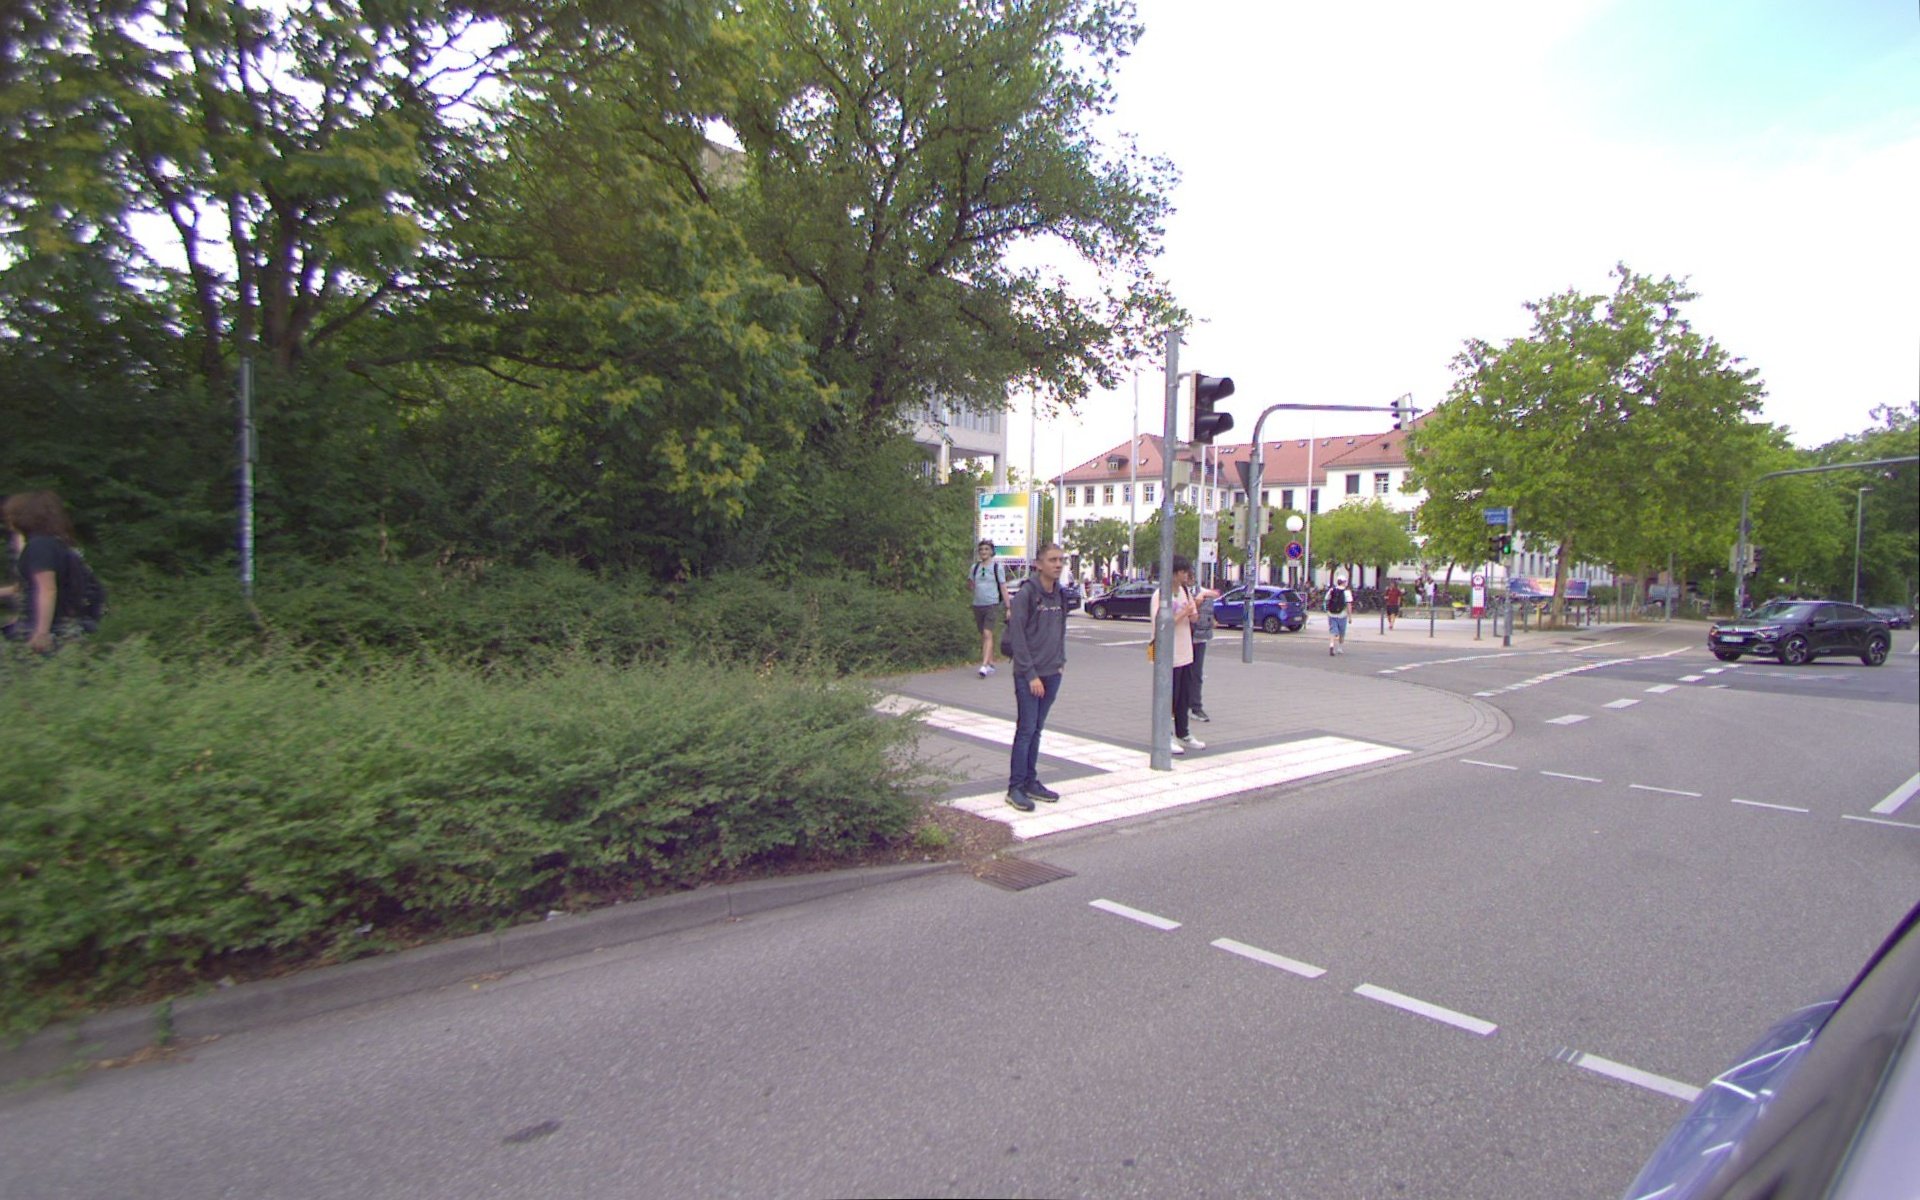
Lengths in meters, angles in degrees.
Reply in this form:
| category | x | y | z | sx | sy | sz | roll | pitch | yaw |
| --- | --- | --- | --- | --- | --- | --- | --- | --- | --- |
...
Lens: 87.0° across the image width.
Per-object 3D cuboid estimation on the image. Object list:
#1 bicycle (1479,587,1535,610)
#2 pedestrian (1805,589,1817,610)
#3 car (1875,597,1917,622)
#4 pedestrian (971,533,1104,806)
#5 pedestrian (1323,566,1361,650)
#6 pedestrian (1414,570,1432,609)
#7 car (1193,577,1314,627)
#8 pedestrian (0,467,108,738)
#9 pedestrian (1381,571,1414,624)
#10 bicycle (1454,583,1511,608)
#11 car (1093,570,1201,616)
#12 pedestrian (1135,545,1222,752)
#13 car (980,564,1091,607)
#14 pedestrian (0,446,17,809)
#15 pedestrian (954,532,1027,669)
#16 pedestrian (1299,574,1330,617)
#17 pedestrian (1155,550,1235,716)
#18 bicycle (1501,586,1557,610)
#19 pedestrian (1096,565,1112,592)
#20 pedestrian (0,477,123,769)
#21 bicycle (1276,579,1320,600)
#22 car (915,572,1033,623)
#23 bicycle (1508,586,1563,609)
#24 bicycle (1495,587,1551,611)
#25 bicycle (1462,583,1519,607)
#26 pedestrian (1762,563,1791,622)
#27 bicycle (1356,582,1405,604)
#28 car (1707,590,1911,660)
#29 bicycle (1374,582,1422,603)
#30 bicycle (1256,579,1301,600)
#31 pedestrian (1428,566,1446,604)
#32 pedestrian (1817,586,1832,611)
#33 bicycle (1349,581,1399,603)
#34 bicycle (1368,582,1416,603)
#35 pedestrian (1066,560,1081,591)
| category | x | y | z | sx | sy | sz | roll | pitch | yaw |
| --- | --- | --- | --- | --- | --- | --- | --- | --- | --- |
| bicycle | 28.665 | -0.089 | 53.083 | 0.706 | 1.156 | 2.468 | 0 | 2 | -43 |
| pedestrian | 66.969 | -0.053 | 79.628 | 0.644 | 1.584 | 0.792 | 2 | 2 | 43 |
| car | 54.960 | 0.527 | 59.380 | 1.699 | 1.386 | 3.771 | 3 | 2 | 44 |
| pedestrian | 0.531 | 0.433 | 6.942 | 0.644 | 1.756 | 0.602 | 0 | 2 | -44 |
| pedestrian | 8.701 | 0.162 | 23.038 | 0.642 | 1.875 | 0.819 | 1 | 1 | 34 |
| pedestrian | 24.136 | -0.539 | 52.768 | 0.674 | 1.988 | 0.601 | 0 | 0 | 6 |
| car | 9.856 | 0.026 | 34.107 | 1.648 | 1.510 | 3.573 | -1 | 3 | -45 |
| pedestrian | -6.380 | 0.003 | 6.951 | 0.767 | 1.767 | 0.657 | 0 | 2 | -44 |
| pedestrian | 15.553 | -0.097 | 36.001 | 0.876 | 1.827 | 0.768 | 0 | 0 | -40 |
| bicycle | 26.225 | -0.224 | 50.827 | 0.706 | 1.156 | 2.468 | 0 | 2 | -43 |
| car | 6.893 | -0.292 | 37.553 | 1.648 | 1.586 | 3.686 | -1 | 3 | -45 |
| pedestrian | 1.937 | 0.406 | 8.965 | 0.626 | 1.756 | 0.454 | 0 | 2 | -44 |
| car | 2.984 | -0.630 | 40.672 | 1.648 | 1.586 | 4.441 | -1 | 3 | -45 |
| pedestrian | -5.116 | 0.125 | 4.919 | 0.767 | 1.767 | 0.625 | 0 | 2 | -44 |
| pedestrian | 0.414 | -0.002 | 13.888 | 0.728 | 1.817 | 0.645 | 0 | 2 | -44 |
| pedestrian | 14.306 | -0.178 | 40.881 | 0.687 | 1.729 | 0.956 | 0 | 0 | -26 |
| pedestrian | 2.505 | 0.329 | 10.789 | 0.626 | 1.708 | 0.546 | 0 | 2 | -44 |
| bicycle | 30.209 | -0.125 | 53.726 | 0.706 | 1.156 | 2.468 | 0 | 2 | -43 |
| pedestrian | 8.639 | -1.291 | 60.681 | 0.722 | 1.617 | 0.595 | 0 | 0 | 33 |
| pedestrian | -5.885 | 0.127 | 6.475 | 0.767 | 1.767 | 0.657 | 0 | 2 | -44 |
| bicycle | 20.360 | -0.649 | 60.994 | 0.706 | 1.156 | 2.468 | 0 | 2 | -43 |
| car | 0.389 | -0.129 | 31.660 | 1.656 | 1.460 | 3.574 | -1 | 3 | -44 |
| bicycle | 30.850 | -0.135 | 54.270 | 0.706 | 1.156 | 2.468 | 0 | 2 | -43 |
| bicycle | 29.605 | -0.055 | 53.245 | 0.706 | 1.156 | 2.468 | 0 | 2 | -43 |
| bicycle | 27.136 | -0.280 | 51.765 | 0.706 | 1.156 | 2.468 | 0 | 2 | -43 |
| pedestrian | 25.644 | -0.239 | 31.788 | 0.670 | 1.839 | 0.574 | 0 | 1 | -42 |
| bicycle | 23.623 | -0.416 | 56.938 | 0.706 | 1.156 | 2.468 | 0 | 2 | -43 |
| car | 20.480 | 0.546 | 24.440 | 4.088 | 1.576 | 1.809 | 0 | 0 | -16 |
| bicycle | 25.329 | -0.440 | 58.615 | 0.706 | 1.156 | 2.468 | 0 | 2 | -43 |
| bicycle | 18.607 | -0.620 | 59.241 | 0.706 | 1.156 | 2.468 | 0 | 2 | -43 |
| pedestrian | 24.845 | -0.774 | 52.734 | 0.674 | 1.988 | 0.601 | 0 | 0 | 6 |
| pedestrian | 67.633 | -0.134 | 79.174 | 0.796 | 1.957 | 0.748 | 2 | 2 | 44 |
| bicycle | 23.039 | -0.444 | 56.365 | 0.706 | 1.156 | 2.468 | 0 | 2 | -43 |
| bicycle | 24.761 | -0.431 | 58.055 | 0.706 | 1.156 | 2.468 | 0 | 2 | -43 |
| pedestrian | 6.926 | -1.477 | 61.615 | 0.722 | 1.866 | 0.596 | 0 | 0 | 31 |
